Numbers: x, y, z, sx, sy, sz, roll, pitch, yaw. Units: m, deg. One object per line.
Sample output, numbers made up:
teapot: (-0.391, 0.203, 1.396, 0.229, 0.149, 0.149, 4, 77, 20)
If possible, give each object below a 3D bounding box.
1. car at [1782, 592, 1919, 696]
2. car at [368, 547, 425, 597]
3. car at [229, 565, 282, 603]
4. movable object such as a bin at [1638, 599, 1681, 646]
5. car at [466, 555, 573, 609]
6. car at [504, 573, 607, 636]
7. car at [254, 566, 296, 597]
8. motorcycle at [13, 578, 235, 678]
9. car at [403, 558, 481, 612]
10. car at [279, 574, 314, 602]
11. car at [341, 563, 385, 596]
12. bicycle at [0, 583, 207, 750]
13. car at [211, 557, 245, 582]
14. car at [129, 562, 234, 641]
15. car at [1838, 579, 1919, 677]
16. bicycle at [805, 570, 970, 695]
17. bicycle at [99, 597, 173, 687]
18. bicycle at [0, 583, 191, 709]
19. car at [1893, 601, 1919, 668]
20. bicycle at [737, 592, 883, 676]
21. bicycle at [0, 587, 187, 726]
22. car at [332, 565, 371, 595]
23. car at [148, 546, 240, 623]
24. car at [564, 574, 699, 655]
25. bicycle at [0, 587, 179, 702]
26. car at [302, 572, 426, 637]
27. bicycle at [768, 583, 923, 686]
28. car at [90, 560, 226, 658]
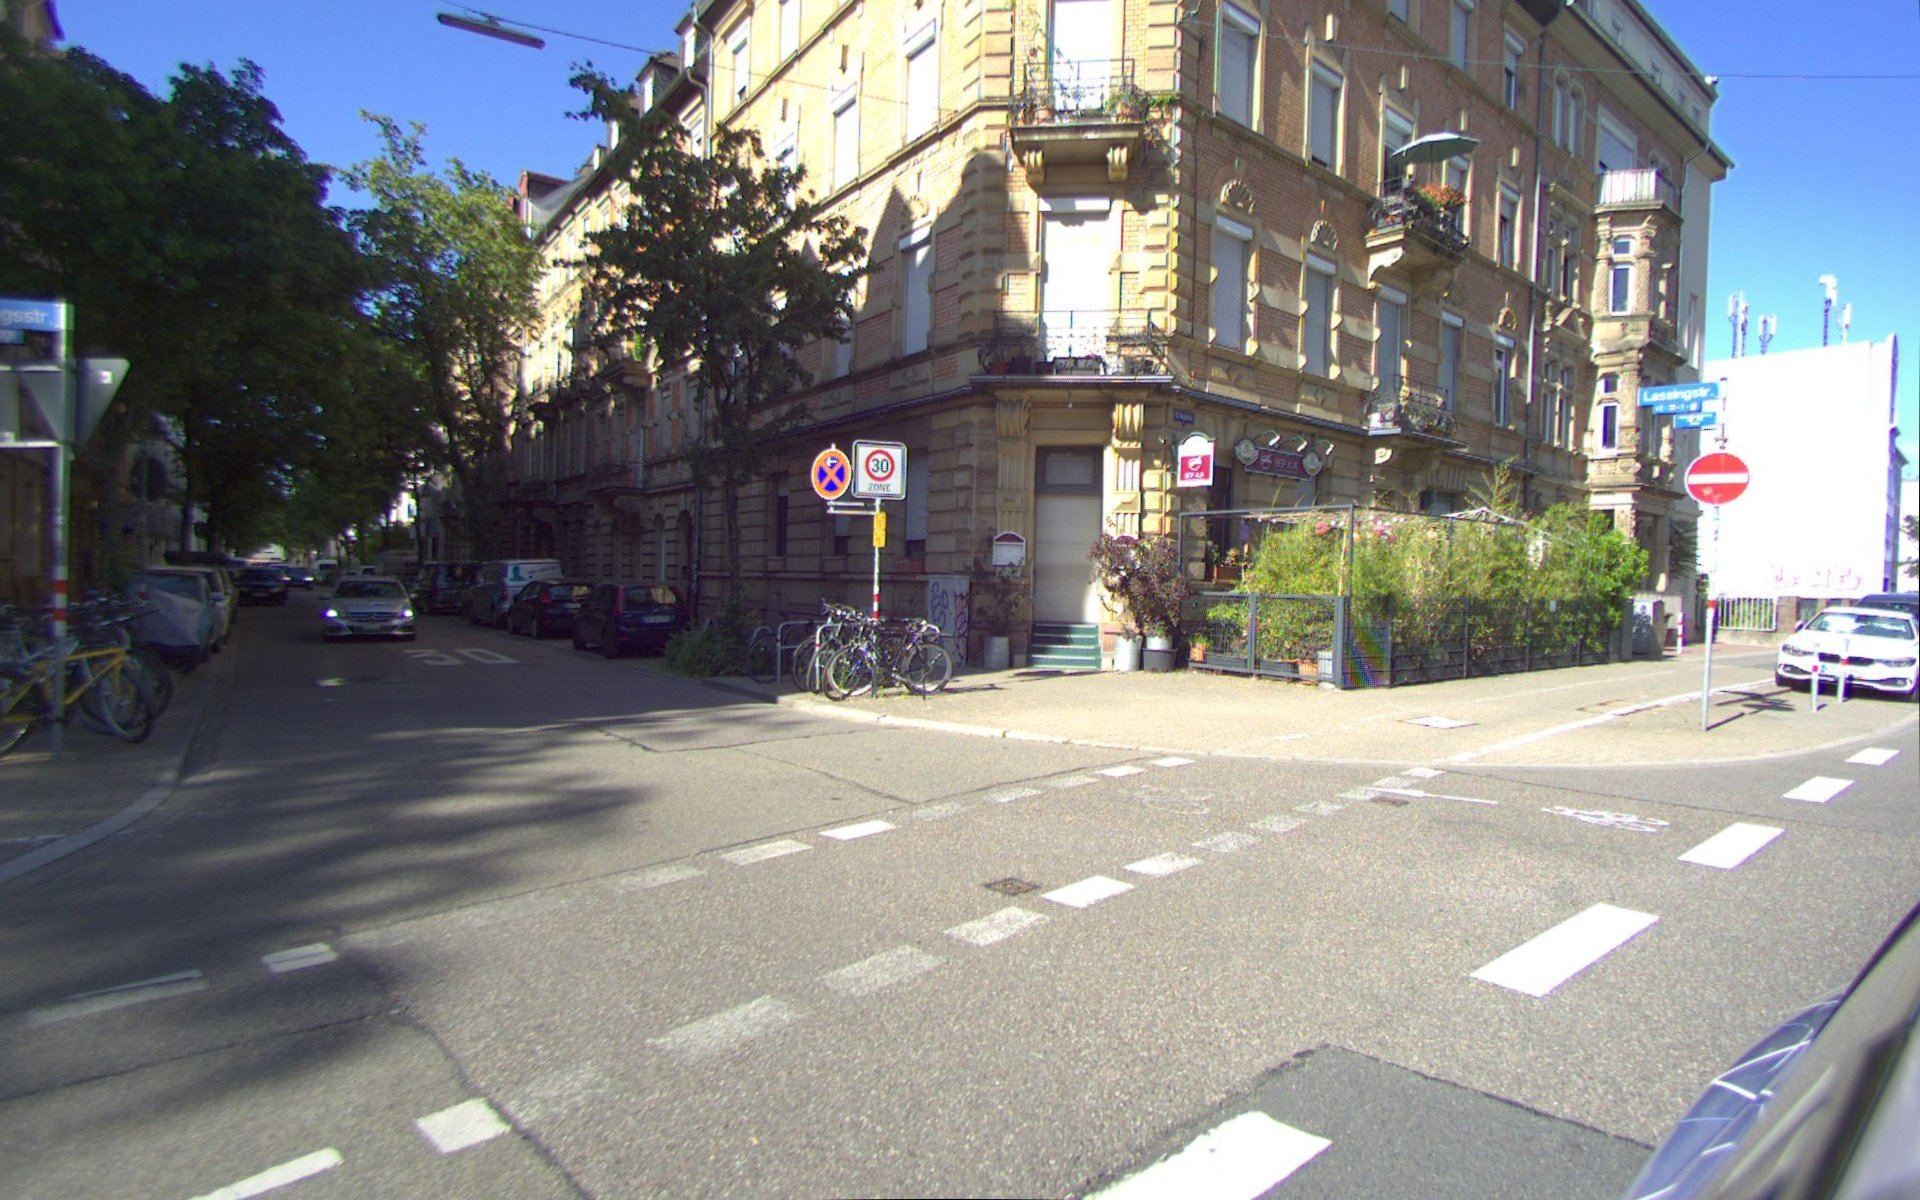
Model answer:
car: (15.689, 0.673, 17.251, 4.130, 1.442, 1.714, 0, 4, -39)
car: (-28.221, -1.381, 50.585, 2.060, 2.406, 4.835, -1, 1, -34)
car: (-30.702, -0.695, 44.179, 1.726, 1.544, 4.002, -3, 2, -33)
movable object such as a bin: (18.063, 0.567, 26.127, 0.598, 1.171, 0.760, -3, 2, -39)
car: (-13.115, -0.541, 29.939, 2.060, 1.451, 4.835, -2, 1, -34)
car: (-10.115, 0.075, 25.196, 1.685, 1.451, 3.407, -2, 1, -34)
car: (-36.011, -0.994, 53.278, 1.725, 1.545, 3.829, 1, 1, -33)
motorcycle: (-12.081, 0.388, 14.684, 2.368, 1.300, 1.000, -2, 2, 1)
car: (-19.560, -0.587, 38.130, 2.060, 1.889, 4.835, -2, 1, -34)
car: (-48.844, -0.900, 74.520, 2.060, 1.968, 4.835, -2, 1, -34)
car: (-37.406, -1.291, 63.343, 2.060, 1.968, 4.835, -2, 1, -34)
bicycle: (-6.721, 0.437, 7.513, 0.683, 1.108, 1.969, 1, 1, 5)
car: (-52.556, -2.193, 72.745, 1.726, 1.686, 4.002, -3, 2, -33)
car: (-16.561, 0.007, 21.676, 1.533, 1.530, 4.240, 0, 0, -34)
car: (19.827, 0.540, 20.900, 4.285, 1.867, 1.823, 0, 1, -39)
bicycle: (-0.847, 0.356, 12.293, 2.031, 1.415, 0.580, 0, 1, -40)
bicycle: (-10.258, 0.497, 12.581, 0.551, 1.003, 1.835, 6, -3, -42)
bicycle: (-8.658, 0.414, 9.735, 1.995, 1.145, 0.729, 0, 1, -37)
car: (23.432, 0.787, 23.766, 4.197, 1.486, 1.671, 0, 0, -39)
bicycle: (-2.080, 0.445, 14.263, 2.031, 1.108, 0.580, 0, 1, -40)
bicycle: (-7.724, 0.463, 8.449, 1.933, 1.109, 0.580, 4, -3, -35)
car: (-42.283, -1.366, 70.272, 2.060, 1.968, 4.835, -2, 1, -34)
car: (-21.659, -0.448, 28.750, 1.726, 1.984, 4.002, -3, 2, -33)
car: (-6.632, 0.226, 20.221, 1.685, 1.451, 3.407, -2, 1, -34)
bicycle: (-9.492, 0.447, 10.648, 1.995, 1.145, 0.561, 0, 1, -37)
car: (-14.001, 0.066, 23.679, 1.964, 1.396, 3.996, -1, 1, -39)
bicycle: (-1.460, 0.408, 13.209, 2.031, 1.251, 0.580, 0, 1, -40)
car: (-13.697, 0.143, 17.446, 1.533, 1.487, 3.253, 3, -1, -34)
